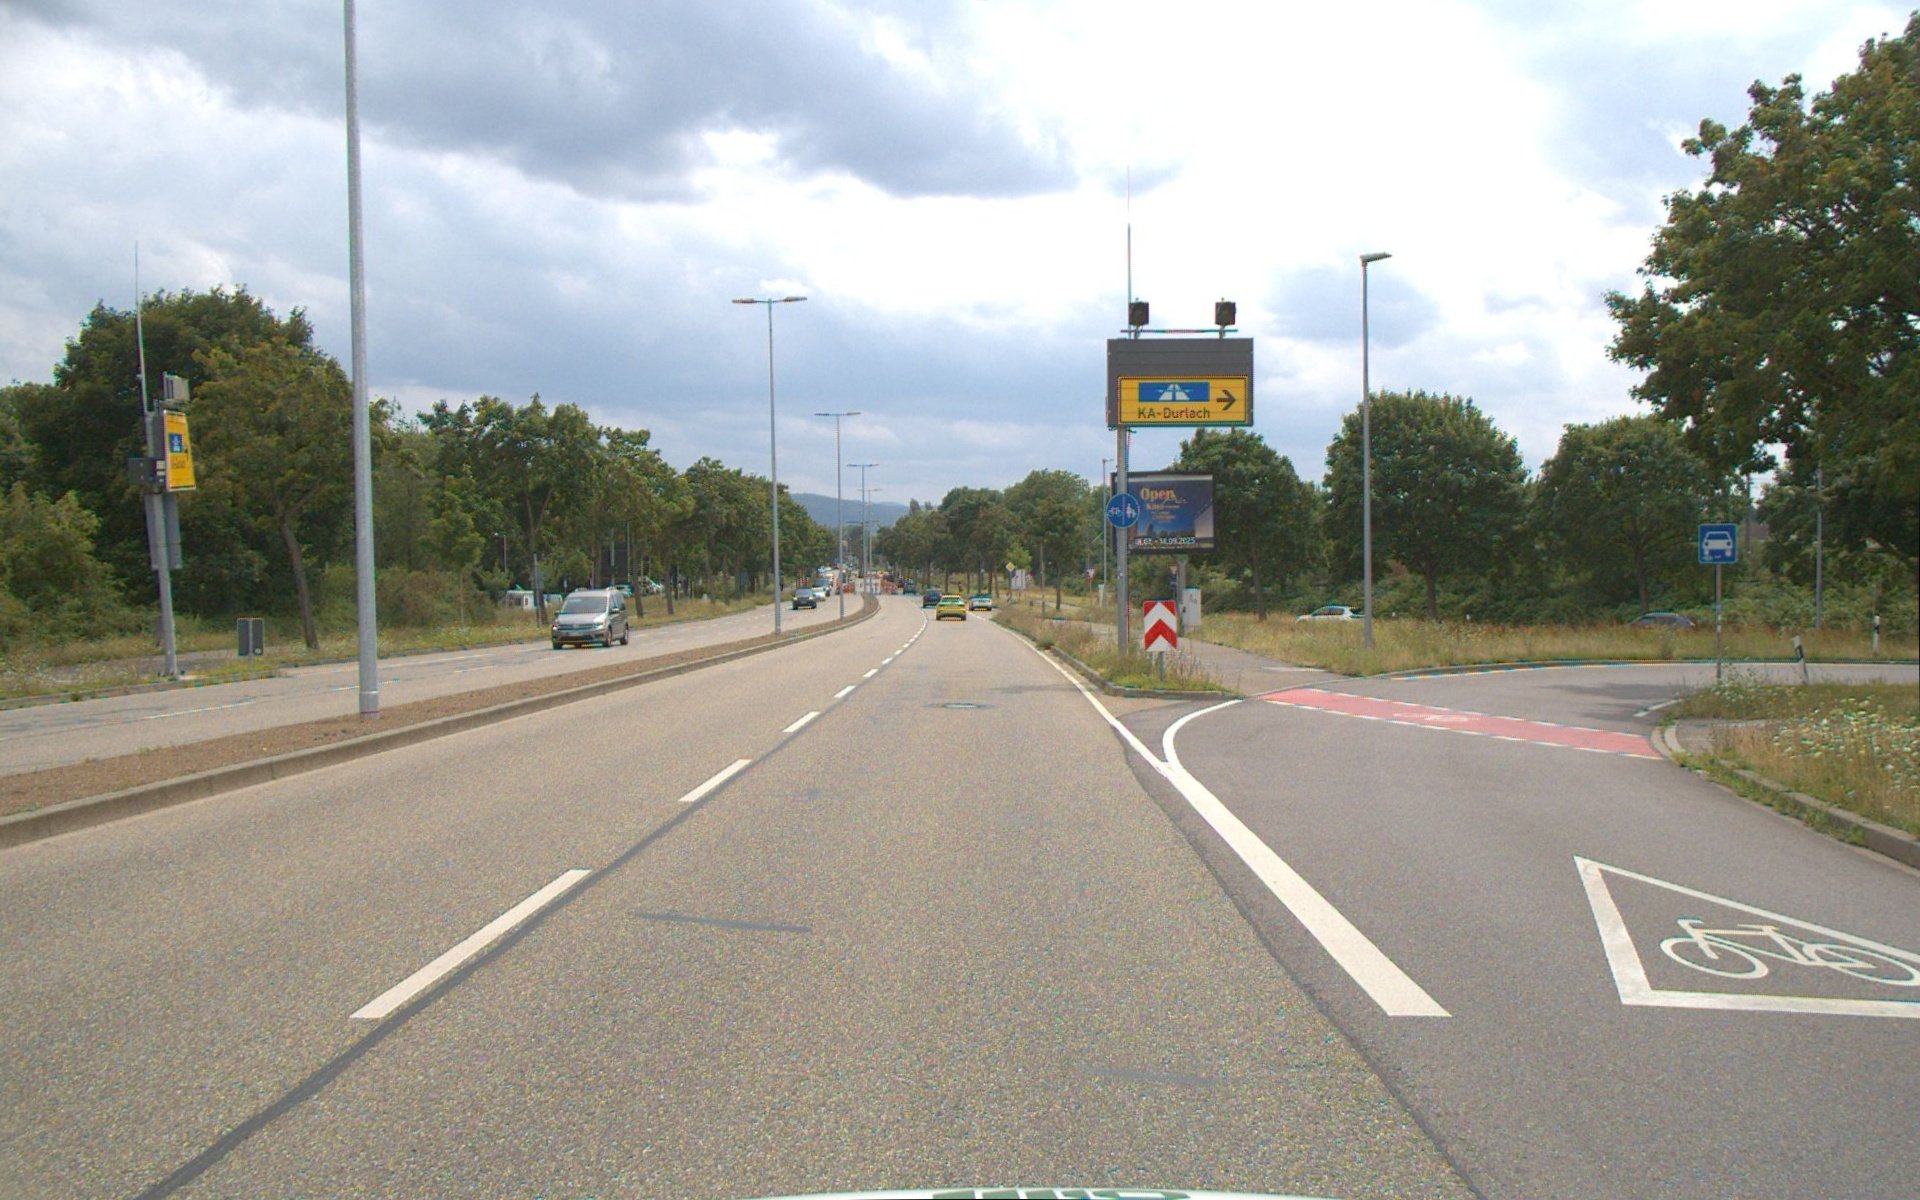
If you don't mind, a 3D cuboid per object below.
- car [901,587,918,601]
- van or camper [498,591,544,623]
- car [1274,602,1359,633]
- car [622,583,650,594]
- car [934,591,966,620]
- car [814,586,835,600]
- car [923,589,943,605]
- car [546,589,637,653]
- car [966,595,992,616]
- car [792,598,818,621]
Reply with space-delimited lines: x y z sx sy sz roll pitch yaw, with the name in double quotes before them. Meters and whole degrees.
"car" -6.755 -0.781 220.687 2.161 1.713 4.000 0 1 -1
"van or camper" -38.221 0.546 144.079 2.422 2.585 6.718 0 1 -2
"car" 18.239 0.881 84.637 3.927 1.489 1.763 1 2 41
"car" -46.215 -1.611 235.958 3.696 1.450 1.966 0 1 -1
"car" -0.616 0.307 98.522 1.757 1.589 3.999 0 1 -2
"car" -14.838 -0.768 181.573 1.953 1.455 4.688 -2 1 0
"car" -2.378 -0.275 144.645 1.633 1.292 3.999 0 1 -2
"car" -11.520 0.618 52.031 1.864 1.841 4.539 0 1 -1
"car" 1.541 0.450 137.855 1.973 1.699 3.999 0 1 -2
"car" -13.810 0.832 147.816 1.953 1.843 4.796 -1 1 -2
